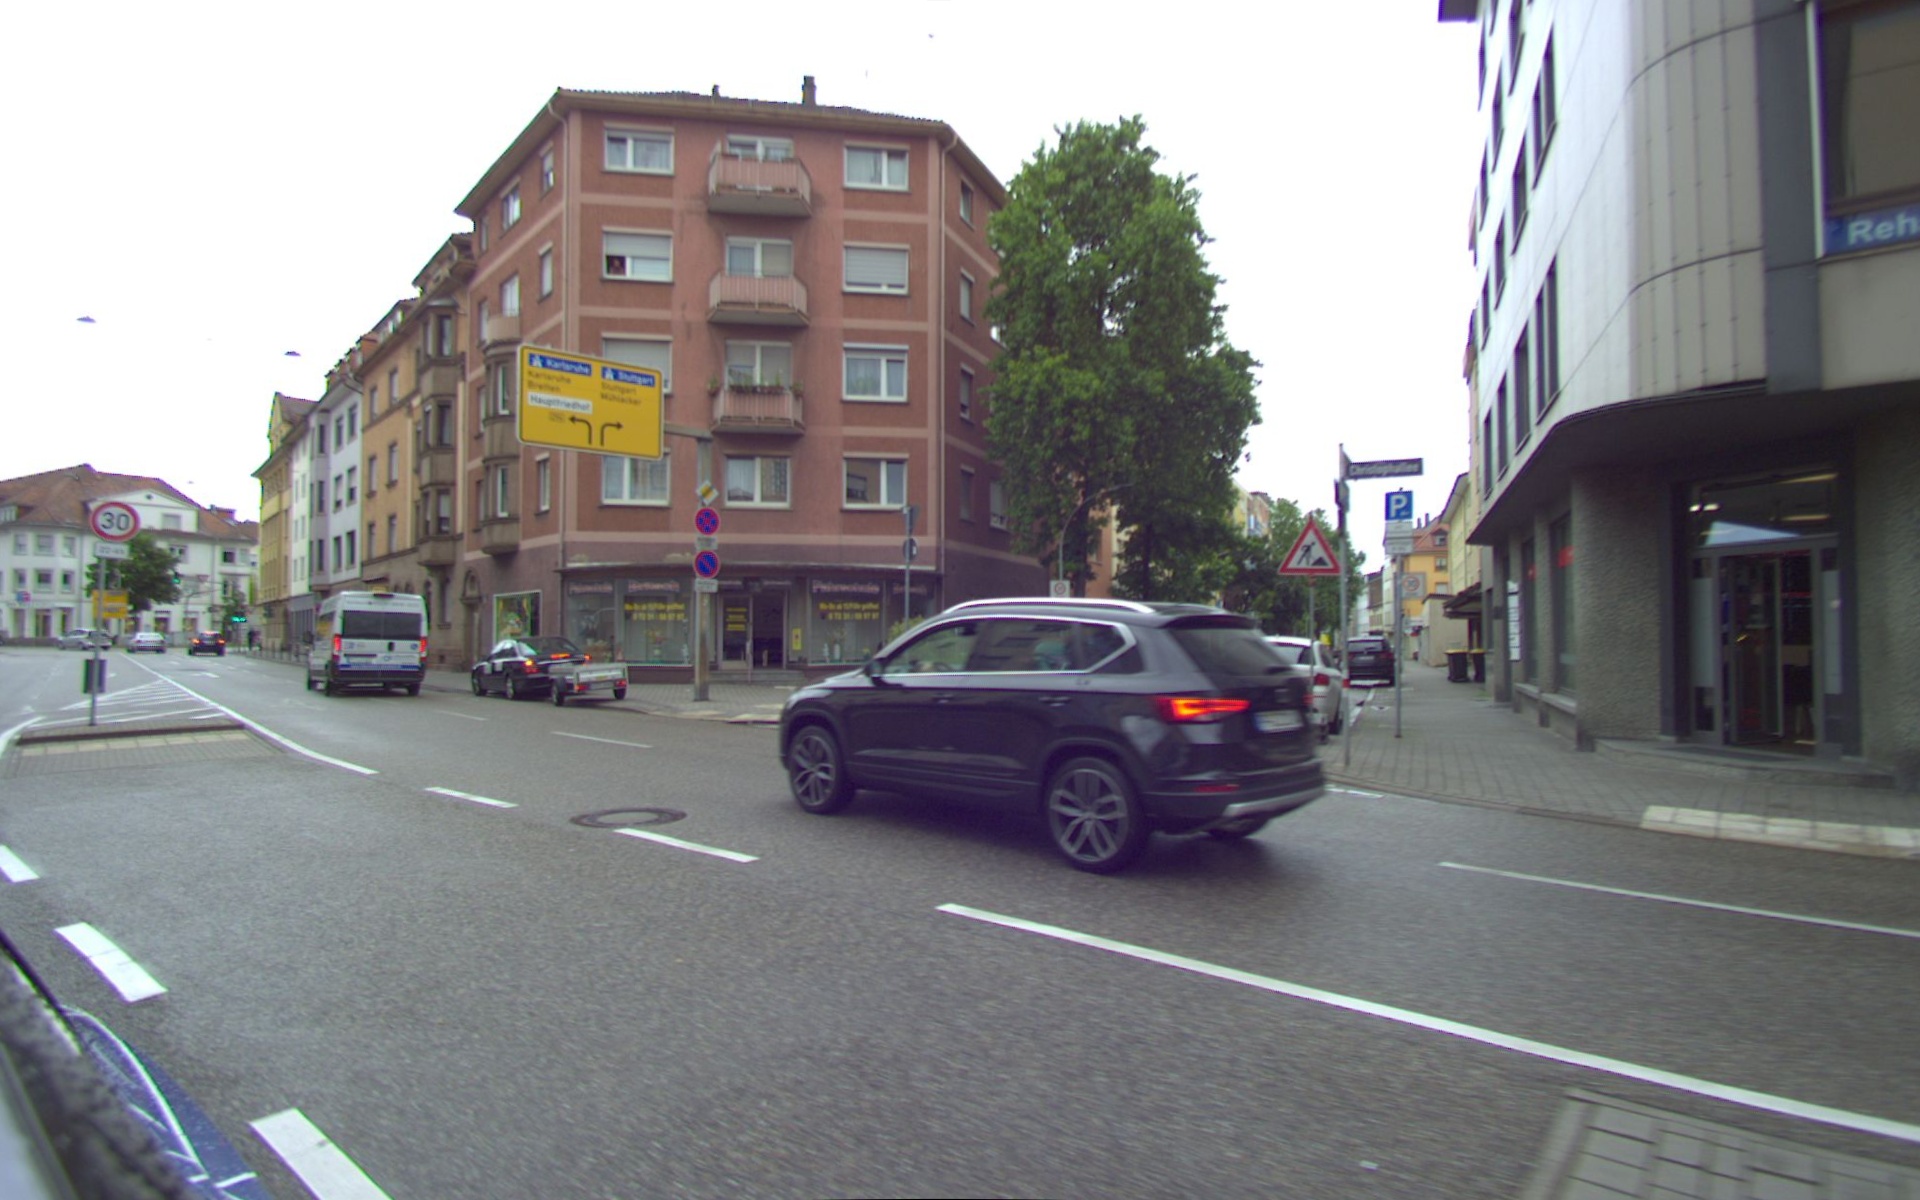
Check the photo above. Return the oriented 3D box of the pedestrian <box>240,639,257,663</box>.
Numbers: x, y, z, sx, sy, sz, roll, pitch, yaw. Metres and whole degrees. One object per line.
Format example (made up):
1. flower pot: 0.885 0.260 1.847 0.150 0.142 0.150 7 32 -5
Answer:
1. pedestrian: -54.714 3.941 77.810 0.882 1.784 1.033 -3 0 -43

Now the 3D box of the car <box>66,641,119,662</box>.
1. car: -66.224 3.923 77.219 4.509 1.596 1.927 -2 -3 34

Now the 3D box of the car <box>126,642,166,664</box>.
1. car: -56.716 3.669 70.506 1.919 1.482 4.565 2 -3 -42

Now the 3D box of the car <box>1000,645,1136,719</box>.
1. car: 2.496 1.780 22.803 1.688 1.494 3.488 -2 -3 32

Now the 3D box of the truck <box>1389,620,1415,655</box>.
1. truck: 41.595 3.559 95.192 1.989 3.205 4.570 -1 -3 25

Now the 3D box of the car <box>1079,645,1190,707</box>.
1. car: 4.643 1.934 26.628 1.688 1.494 3.488 -2 -3 32

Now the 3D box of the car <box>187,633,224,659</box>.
1. car: -50.332 3.053 67.501 1.732 1.664 4.314 2 -3 -39

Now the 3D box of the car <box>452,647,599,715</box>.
1. car: -10.746 1.927 24.842 1.828 1.408 4.798 -2 -1 -42

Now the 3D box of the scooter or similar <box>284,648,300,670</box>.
1. scooter or similar: -39.622 3.486 60.027 0.455 1.222 1.580 -4 0 -43

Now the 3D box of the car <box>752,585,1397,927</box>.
1. car: 0.492 0.902 7.171 1.723 1.675 4.420 2 -5 -45

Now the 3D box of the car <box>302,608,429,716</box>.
1. car: -15.562 1.548 26.278 2.059 2.454 6.366 2 -3 -37

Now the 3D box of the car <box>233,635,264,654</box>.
1. car: -62.296 3.903 88.590 1.955 1.607 4.346 2 -3 -38

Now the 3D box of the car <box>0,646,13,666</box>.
1. car: -75.797 4.298 77.466 4.535 1.596 1.951 0 -3 -5

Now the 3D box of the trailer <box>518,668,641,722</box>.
1. trailer: -8.219 1.990 21.728 1.568 0.956 3.061 0 -2 -40

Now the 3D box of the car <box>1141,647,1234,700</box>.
1. car: 7.003 2.190 30.957 1.688 1.494 3.488 -2 -3 32
